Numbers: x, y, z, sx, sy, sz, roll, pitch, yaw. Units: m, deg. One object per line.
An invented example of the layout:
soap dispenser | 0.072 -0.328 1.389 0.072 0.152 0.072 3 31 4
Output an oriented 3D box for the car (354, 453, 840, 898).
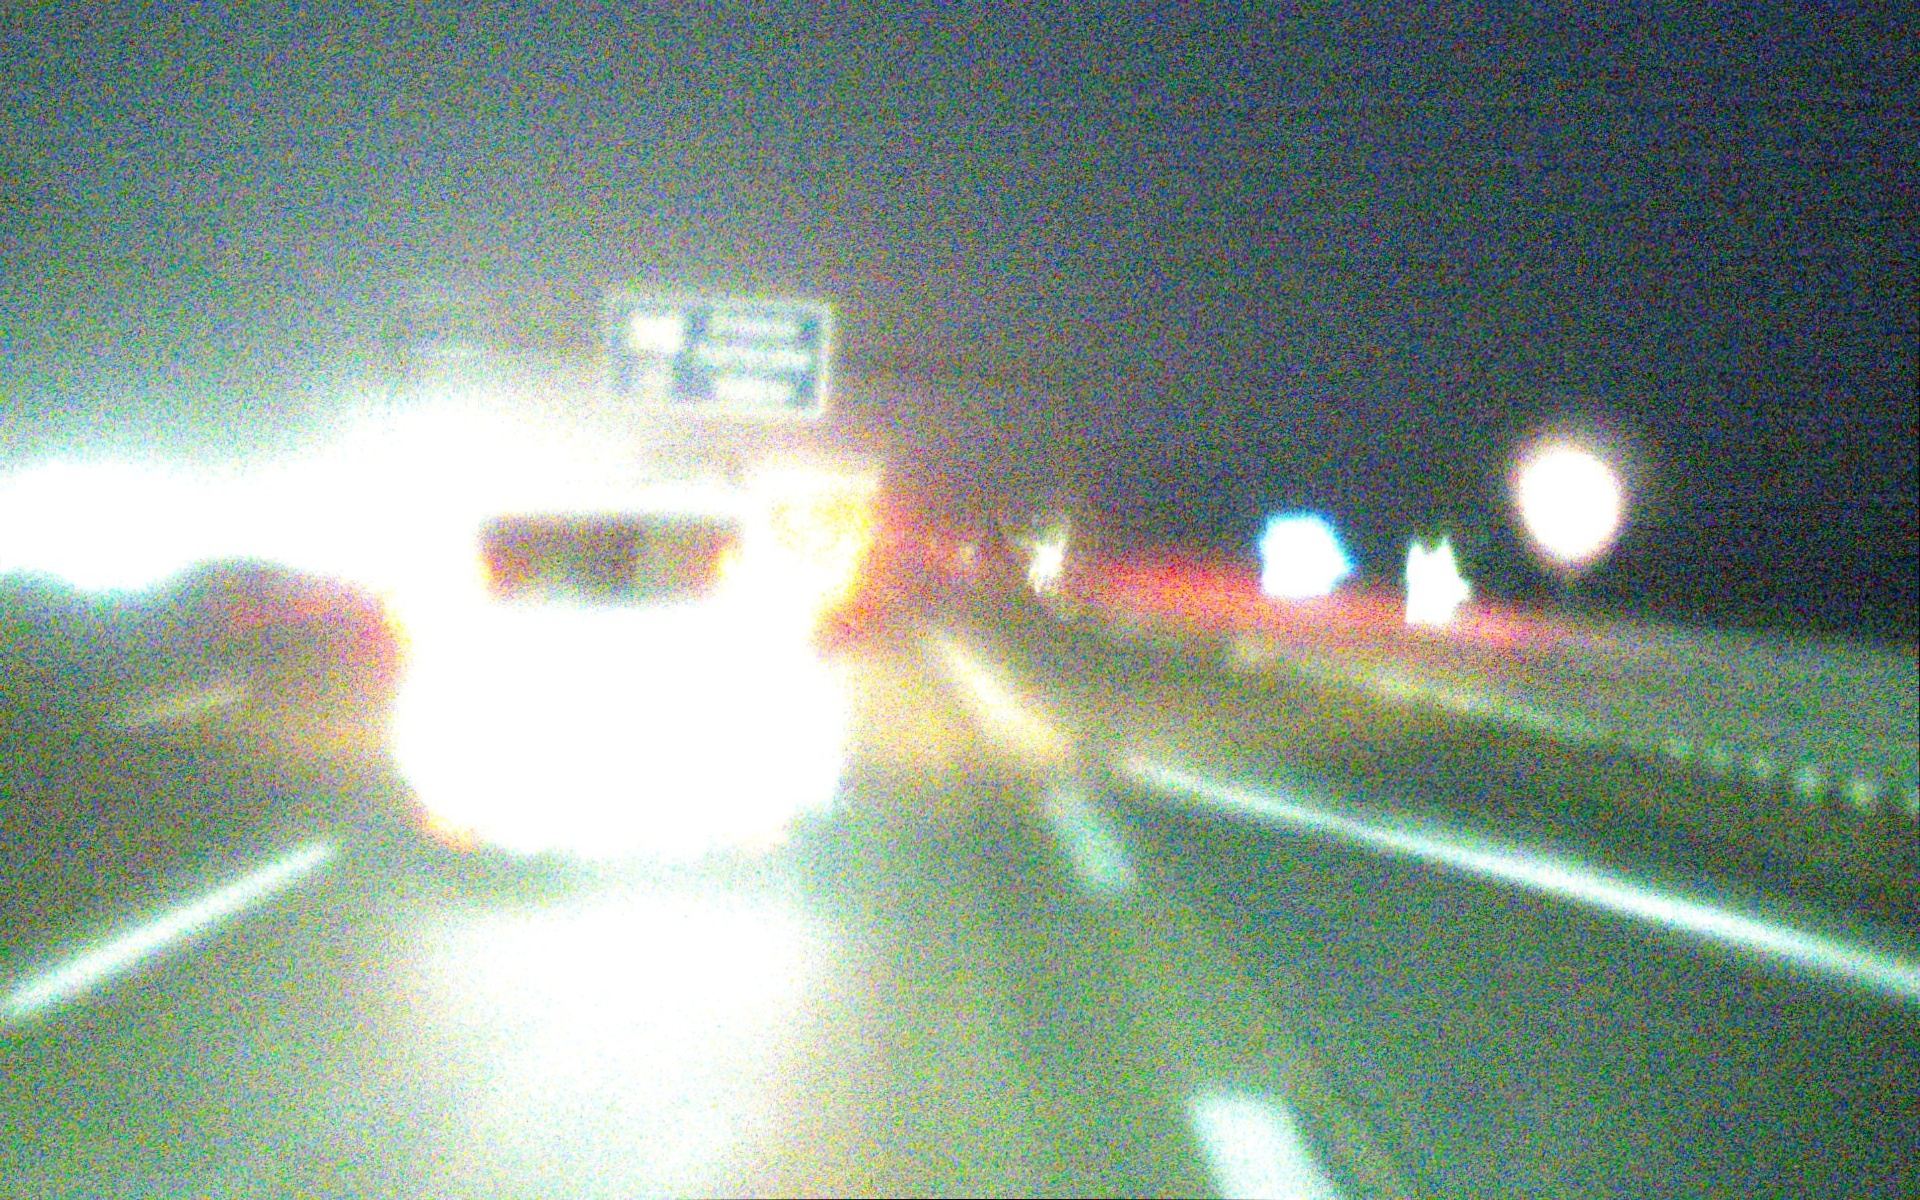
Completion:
car | -1.615 0.284 16.825 1.953 1.786 5.125 2 1 -2

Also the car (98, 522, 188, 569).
car | -23.470 -1.558 98.897 1.706 1.217 4.273 3 1 -3

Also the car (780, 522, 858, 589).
car | -3.812 -1.198 92.625 1.993 1.701 4.196 2 1 -3

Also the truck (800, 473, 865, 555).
truck | -8.105 -5.369 217.626 3.823 4.898 11.607 2 1 -3

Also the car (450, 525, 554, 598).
car | -11.871 -1.002 89.329 1.993 1.701 4.196 5 1 0

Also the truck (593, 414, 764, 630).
truck | -7.759 -2.124 96.727 4.167 5.525 13.076 2 1 -3

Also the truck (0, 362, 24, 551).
truck | -28.100 -4.023 90.160 4.339 5.123 10.474 5 1 -3
